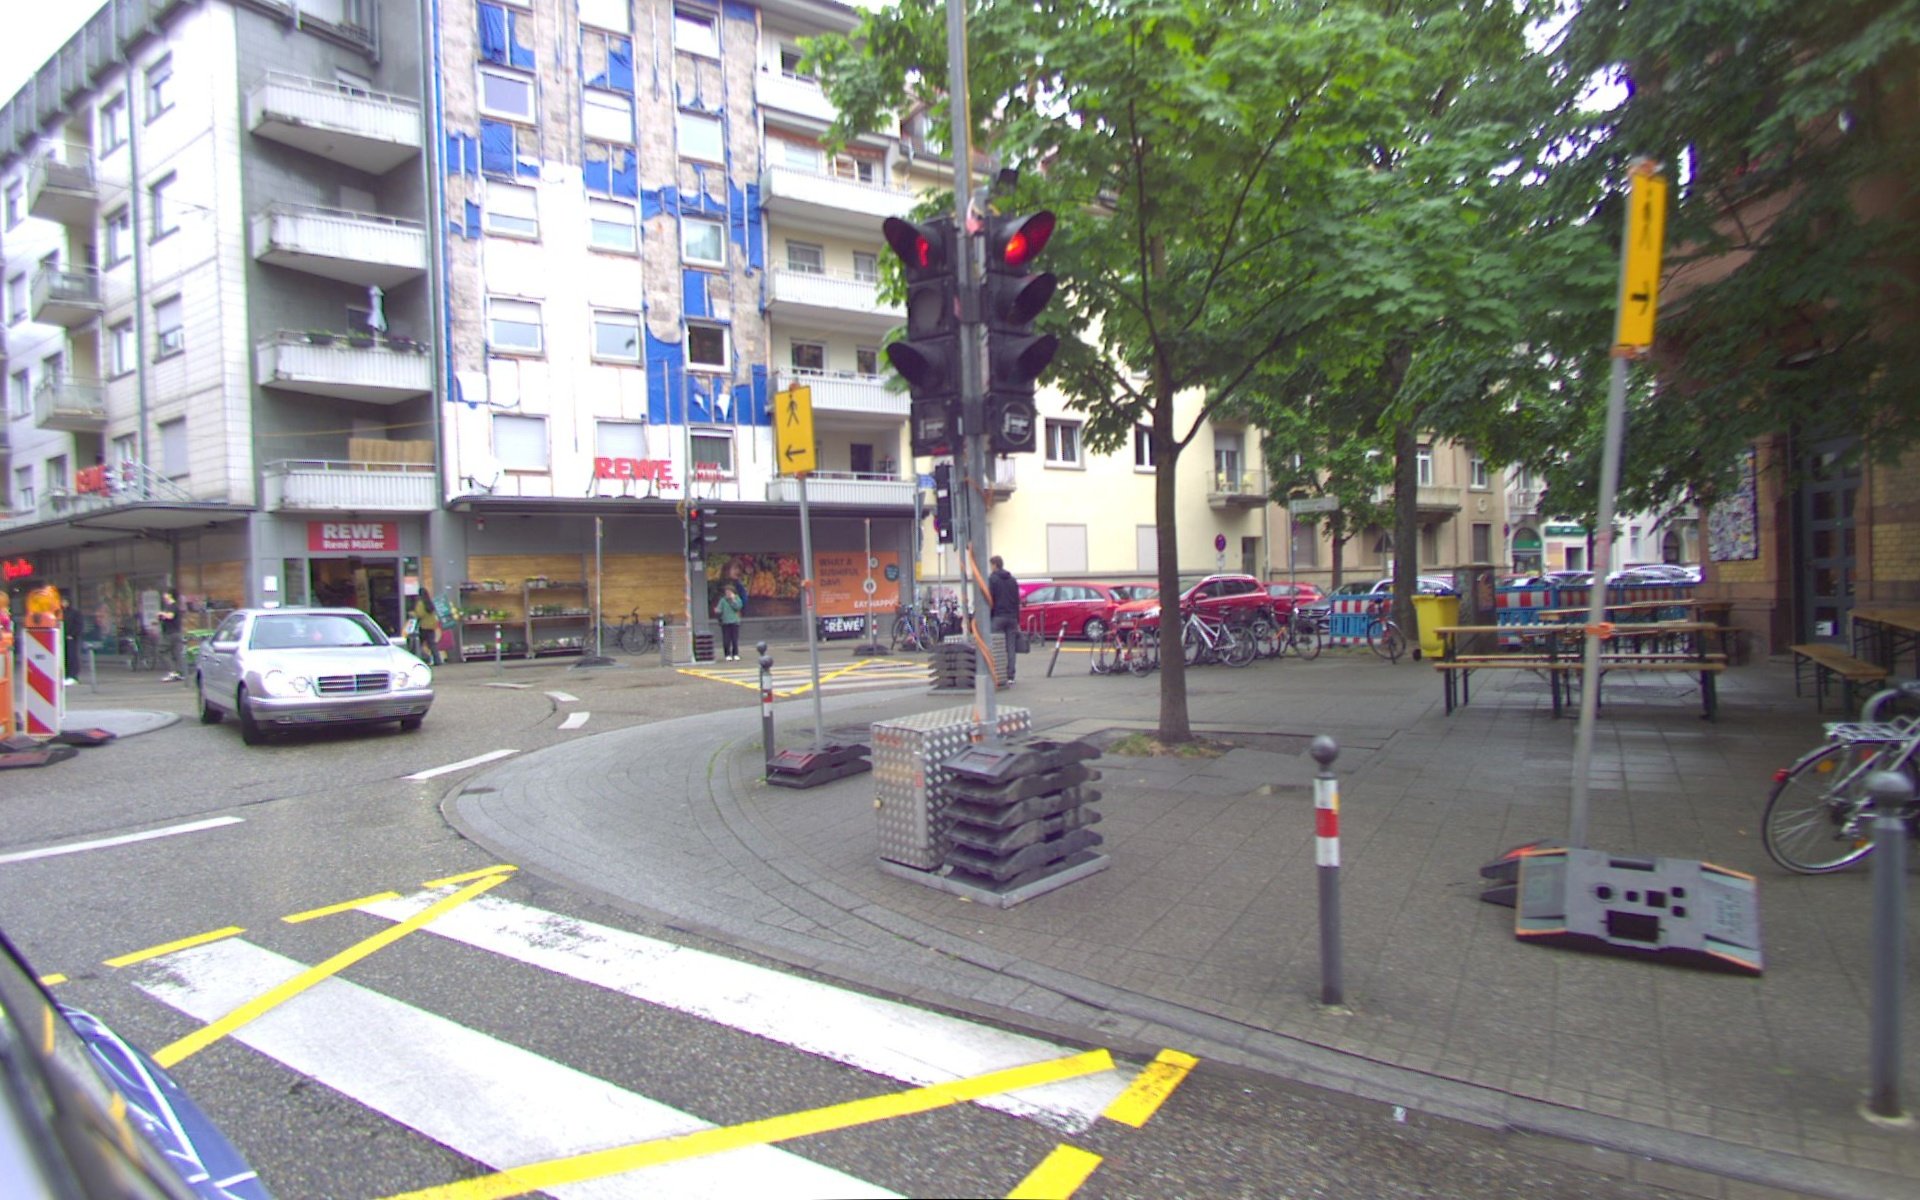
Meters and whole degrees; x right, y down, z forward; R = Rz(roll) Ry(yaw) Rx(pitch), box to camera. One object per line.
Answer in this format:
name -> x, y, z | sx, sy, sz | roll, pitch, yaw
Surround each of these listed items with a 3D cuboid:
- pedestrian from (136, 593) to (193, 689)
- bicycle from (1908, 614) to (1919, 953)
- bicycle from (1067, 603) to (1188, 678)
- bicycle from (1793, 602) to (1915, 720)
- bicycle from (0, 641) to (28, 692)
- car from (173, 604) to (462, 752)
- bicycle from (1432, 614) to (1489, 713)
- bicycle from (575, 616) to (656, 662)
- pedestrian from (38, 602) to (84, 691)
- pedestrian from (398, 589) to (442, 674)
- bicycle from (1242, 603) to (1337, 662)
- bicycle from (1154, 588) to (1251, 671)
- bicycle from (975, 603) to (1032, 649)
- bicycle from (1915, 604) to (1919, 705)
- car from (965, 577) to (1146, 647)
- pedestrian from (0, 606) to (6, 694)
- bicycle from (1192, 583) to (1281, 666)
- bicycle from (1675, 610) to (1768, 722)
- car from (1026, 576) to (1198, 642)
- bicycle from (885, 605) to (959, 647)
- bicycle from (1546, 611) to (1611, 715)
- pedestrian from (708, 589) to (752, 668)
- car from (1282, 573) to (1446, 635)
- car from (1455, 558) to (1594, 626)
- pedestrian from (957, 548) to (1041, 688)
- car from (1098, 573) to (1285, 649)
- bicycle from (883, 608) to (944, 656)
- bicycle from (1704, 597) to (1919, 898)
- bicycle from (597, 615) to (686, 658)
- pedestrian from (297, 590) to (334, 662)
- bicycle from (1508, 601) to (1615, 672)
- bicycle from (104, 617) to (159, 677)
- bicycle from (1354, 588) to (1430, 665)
pedestrian -> -16.337, 0.825, 20.799 | 0.707, 1.911, 0.607 | -2, 1, -22
bicycle -> 4.261, 0.622, 3.250 | 1.856, 1.194, 0.398 | -2, 1, 9
bicycle -> 2.569, 0.622, 15.913 | 0.851, 1.052, 2.420 | -2, -1, -16
bicycle -> 7.089, 0.449, 8.072 | 0.404, 0.821, 1.381 | -2, 0, 29
bicycle -> -20.895, 1.481, 21.191 | 0.656, 1.041, 1.884 | -3, 2, 19
car -> -8.024, 0.822, 12.397 | 4.981, 1.409, 1.834 | -2, 0, 44
bicycle -> 4.784, 0.580, 9.646 | 0.404, 0.821, 1.381 | -2, 0, 29
bicycle -> -8.093, 0.902, 23.793 | 1.667, 0.978, 0.568 | -2, 0, -1
pedestrian -> -19.287, 0.985, 21.711 | 0.769, 1.862, 0.596 | -2, 0, 42
pedestrian -> -11.773, 0.671, 22.088 | 0.682, 1.778, 0.867 | -2, 1, -22
bicycle -> 5.731, 0.552, 17.715 | 0.579, 0.968, 1.729 | -2, 0, -21
bicycle -> 3.986, 0.497, 16.835 | 0.579, 1.285, 2.009 | -2, -2, -16
bicycle -> 1.102, 0.624, 25.032 | 0.587, 0.978, 1.983 | 0, 2, 28
bicycle -> 7.681, 0.457, 7.584 | 0.404, 0.821, 1.381 | -1, 1, 29
car -> 2.568, 0.324, 27.422 | 4.438, 1.693, 1.981 | -2, 0, 28
pedestrian -> -20.863, 1.078, 21.422 | 0.769, 1.862, 0.851 | -2, 0, 42
bicycle -> 4.578, 0.424, 16.900 | 0.467, 1.285, 1.871 | -2, -2, -16
bicycle -> 6.449, 0.529, 8.612 | 0.404, 0.821, 1.381 | -2, 0, 29
car -> 4.348, 0.260, 28.994 | 4.438, 1.684, 1.981 | -2, 0, 28
bicycle -> -0.983, 0.670, 26.651 | 1.970, 0.978, 0.590 | -3, 3, -41
bicycle -> 5.566, 0.541, 9.140 | 0.404, 0.821, 1.381 | -2, 0, 29
pedestrian -> -4.913, 0.593, 21.608 | 0.786, 1.627, 0.607 | -2, 1, -22
car -> 11.123, 0.103, 27.831 | 4.312, 1.488, 1.849 | -3, -1, -30
car -> 17.000, -0.249, 30.422 | 4.314, 1.811, 1.848 | -3, -1, -34
pedestrian -> 0.590, 0.258, 15.439 | 0.929, 2.029, 0.867 | -2, 0, -22
car -> 5.648, 0.240, 24.538 | 4.313, 1.652, 1.848 | -2, -1, -32
bicycle -> -1.103, 0.724, 23.491 | 0.579, 0.978, 2.008 | -2, 2, -27
bicycle -> 4.447, 0.568, 4.306 | 1.907, 1.152, 0.775 | -2, 1, 5
bicycle -> -7.720, 0.883, 24.586 | 1.972, 0.978, 0.590 | -1, 0, -1
pedestrian -> -14.659, 0.577, 23.044 | 0.536, 1.596, 0.696 | -2, 1, -22
bicycle -> 7.644, 0.445, 12.930 | 0.400, 0.821, 1.547 | -2, 1, -1
bicycle -> -20.306, 1.144, 24.793 | 2.019, 1.384, 0.445 | -2, 3, 36
bicycle -> 6.902, 0.388, 16.099 | 0.740, 1.100, 2.386 | -2, 0, 32
